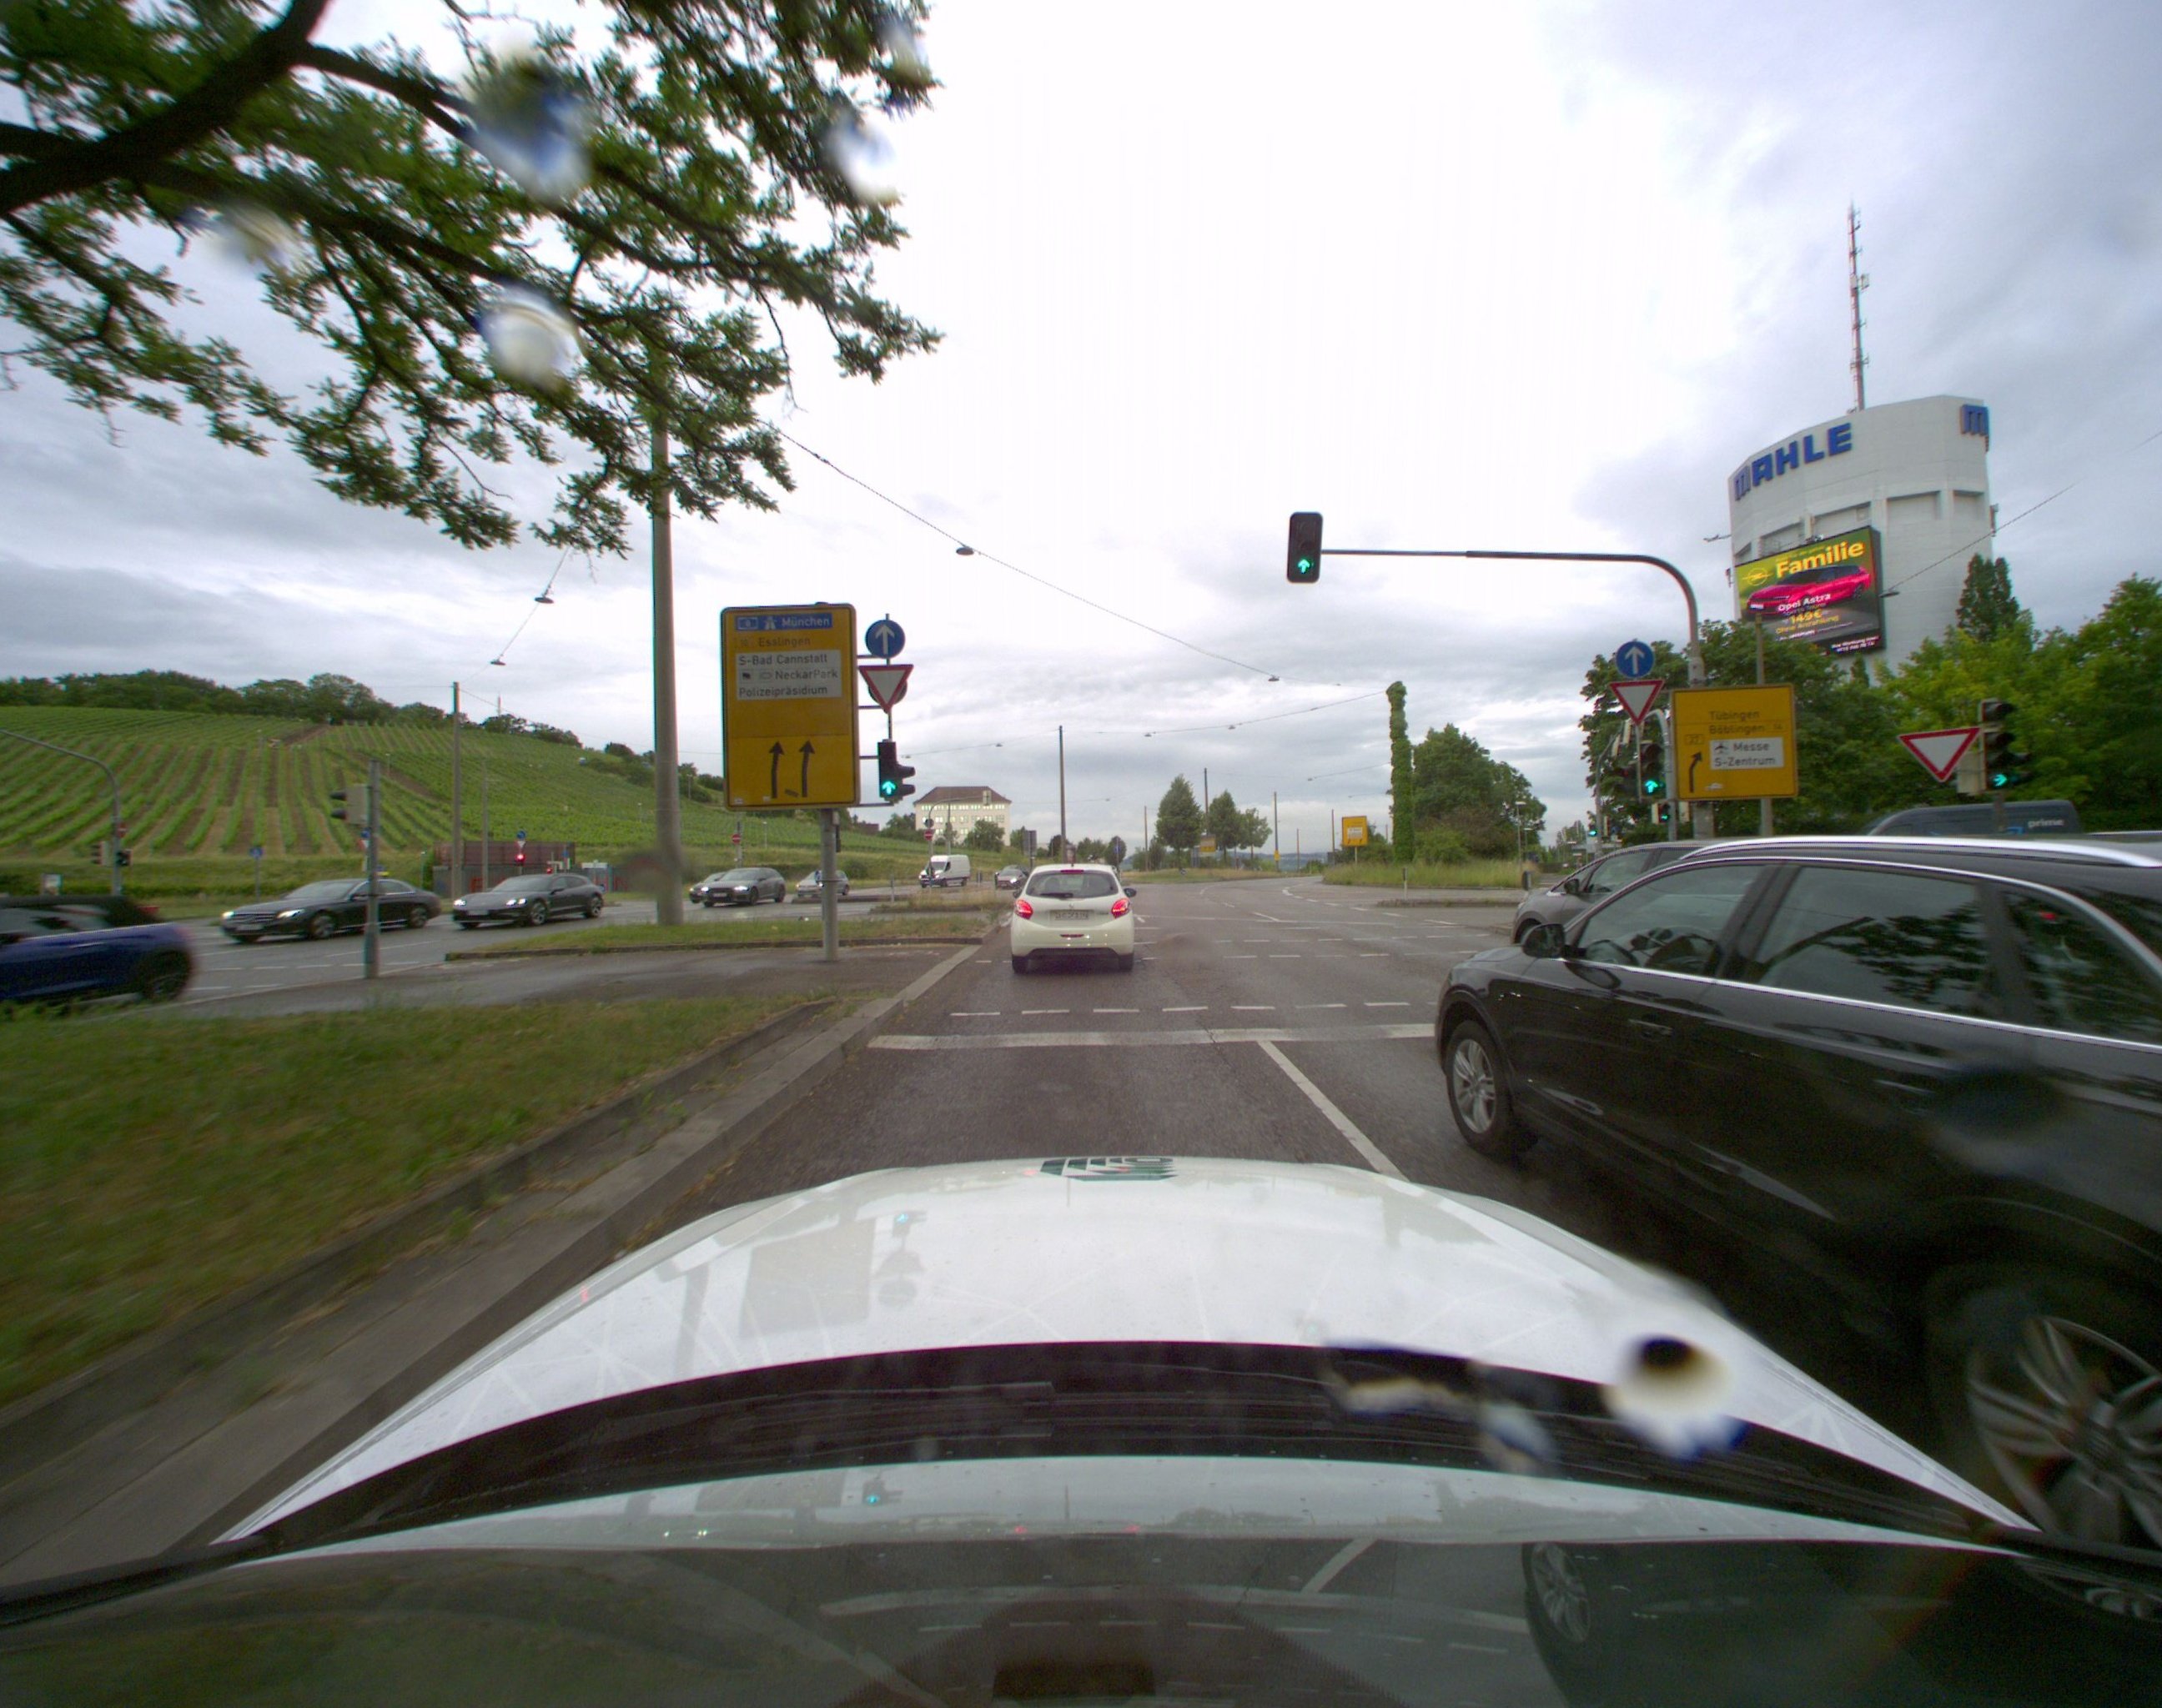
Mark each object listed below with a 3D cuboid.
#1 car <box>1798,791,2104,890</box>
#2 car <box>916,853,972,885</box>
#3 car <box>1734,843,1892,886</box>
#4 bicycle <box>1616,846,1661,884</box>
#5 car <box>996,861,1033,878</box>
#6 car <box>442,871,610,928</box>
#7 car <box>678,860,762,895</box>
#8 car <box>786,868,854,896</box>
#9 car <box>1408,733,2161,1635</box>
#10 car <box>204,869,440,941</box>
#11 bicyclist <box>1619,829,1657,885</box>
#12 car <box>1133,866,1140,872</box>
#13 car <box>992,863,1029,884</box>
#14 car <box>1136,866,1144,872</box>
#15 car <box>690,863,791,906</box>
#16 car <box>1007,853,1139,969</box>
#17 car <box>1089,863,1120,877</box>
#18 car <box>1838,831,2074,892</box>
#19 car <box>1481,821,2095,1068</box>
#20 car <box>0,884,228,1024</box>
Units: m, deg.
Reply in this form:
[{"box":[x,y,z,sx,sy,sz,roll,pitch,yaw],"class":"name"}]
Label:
[{"box":[26.061,-0.305,24.804,5.954,2.741,2.093,-1,-2,27],"class":"car"},{"box":[-11.233,1.230,67.420,1.978,2.559,6.197,0,-1,17],"class":"car"},{"box":[27.926,0.425,31.237,4.095,1.564,1.881,-1,-1,22],"class":"car"},{"box":[16.172,0.314,23.678,0.801,1.023,2.342,-3,-2,28],"class":"bicycle"},{"box":[-6.475,1.513,79.400,1.977,1.513,4.252,0,-1,19],"class":"car"},{"box":[-15.940,1.236,23.750,1.820,1.363,4.663,-1,0,-3],"class":"car"},{"box":[-16.834,1.056,38.243,1.819,1.472,4.667,-1,0,0],"class":"car"},{"box":[-15.513,1.620,48.725,1.980,1.576,4.209,0,-1,12],"class":"car"},{"box":[2.880,0.614,2.866,1.878,1.596,4.113,1,-1,1],"class":"car"},{"box":[-19.138,1.200,20.889,1.824,1.624,4.562,0,-1,-2],"class":"car"},{"box":[16.174,0.098,23.665,0.801,1.584,1.029,0,-1,28],"class":"bicyclist"},{"box":[16.334,4.413,241.137,1.836,1.486,3.998,-1,-1,-1],"class":"car"},{"box":[-5.019,1.392,58.308,1.766,1.425,4.381,-2,-1,6],"class":"car"},{"box":[16.754,4.292,232.747,1.836,1.486,3.998,-1,-1,-1],"class":"car"},{"box":[-13.376,1.152,32.353,1.895,1.489,4.892,-1,0,0],"class":"car"},{"box":[-0.081,0.772,12.594,1.712,1.489,4.000,0,-1,1],"class":"car"},{"box":[2.584,1.796,90.274,1.734,1.513,4.024,0,-1,30],"class":"car"},{"box":[24.021,0.242,22.581,4.012,1.569,1.881,-1,-3,24],"class":"car"},{"box":[6.002,0.602,7.877,1.861,1.674,4.560,0,0,-3],"class":"car"},{"box":[-12.549,1.144,9.230,1.783,1.395,3.877,-1,1,-4],"class":"car"}]
